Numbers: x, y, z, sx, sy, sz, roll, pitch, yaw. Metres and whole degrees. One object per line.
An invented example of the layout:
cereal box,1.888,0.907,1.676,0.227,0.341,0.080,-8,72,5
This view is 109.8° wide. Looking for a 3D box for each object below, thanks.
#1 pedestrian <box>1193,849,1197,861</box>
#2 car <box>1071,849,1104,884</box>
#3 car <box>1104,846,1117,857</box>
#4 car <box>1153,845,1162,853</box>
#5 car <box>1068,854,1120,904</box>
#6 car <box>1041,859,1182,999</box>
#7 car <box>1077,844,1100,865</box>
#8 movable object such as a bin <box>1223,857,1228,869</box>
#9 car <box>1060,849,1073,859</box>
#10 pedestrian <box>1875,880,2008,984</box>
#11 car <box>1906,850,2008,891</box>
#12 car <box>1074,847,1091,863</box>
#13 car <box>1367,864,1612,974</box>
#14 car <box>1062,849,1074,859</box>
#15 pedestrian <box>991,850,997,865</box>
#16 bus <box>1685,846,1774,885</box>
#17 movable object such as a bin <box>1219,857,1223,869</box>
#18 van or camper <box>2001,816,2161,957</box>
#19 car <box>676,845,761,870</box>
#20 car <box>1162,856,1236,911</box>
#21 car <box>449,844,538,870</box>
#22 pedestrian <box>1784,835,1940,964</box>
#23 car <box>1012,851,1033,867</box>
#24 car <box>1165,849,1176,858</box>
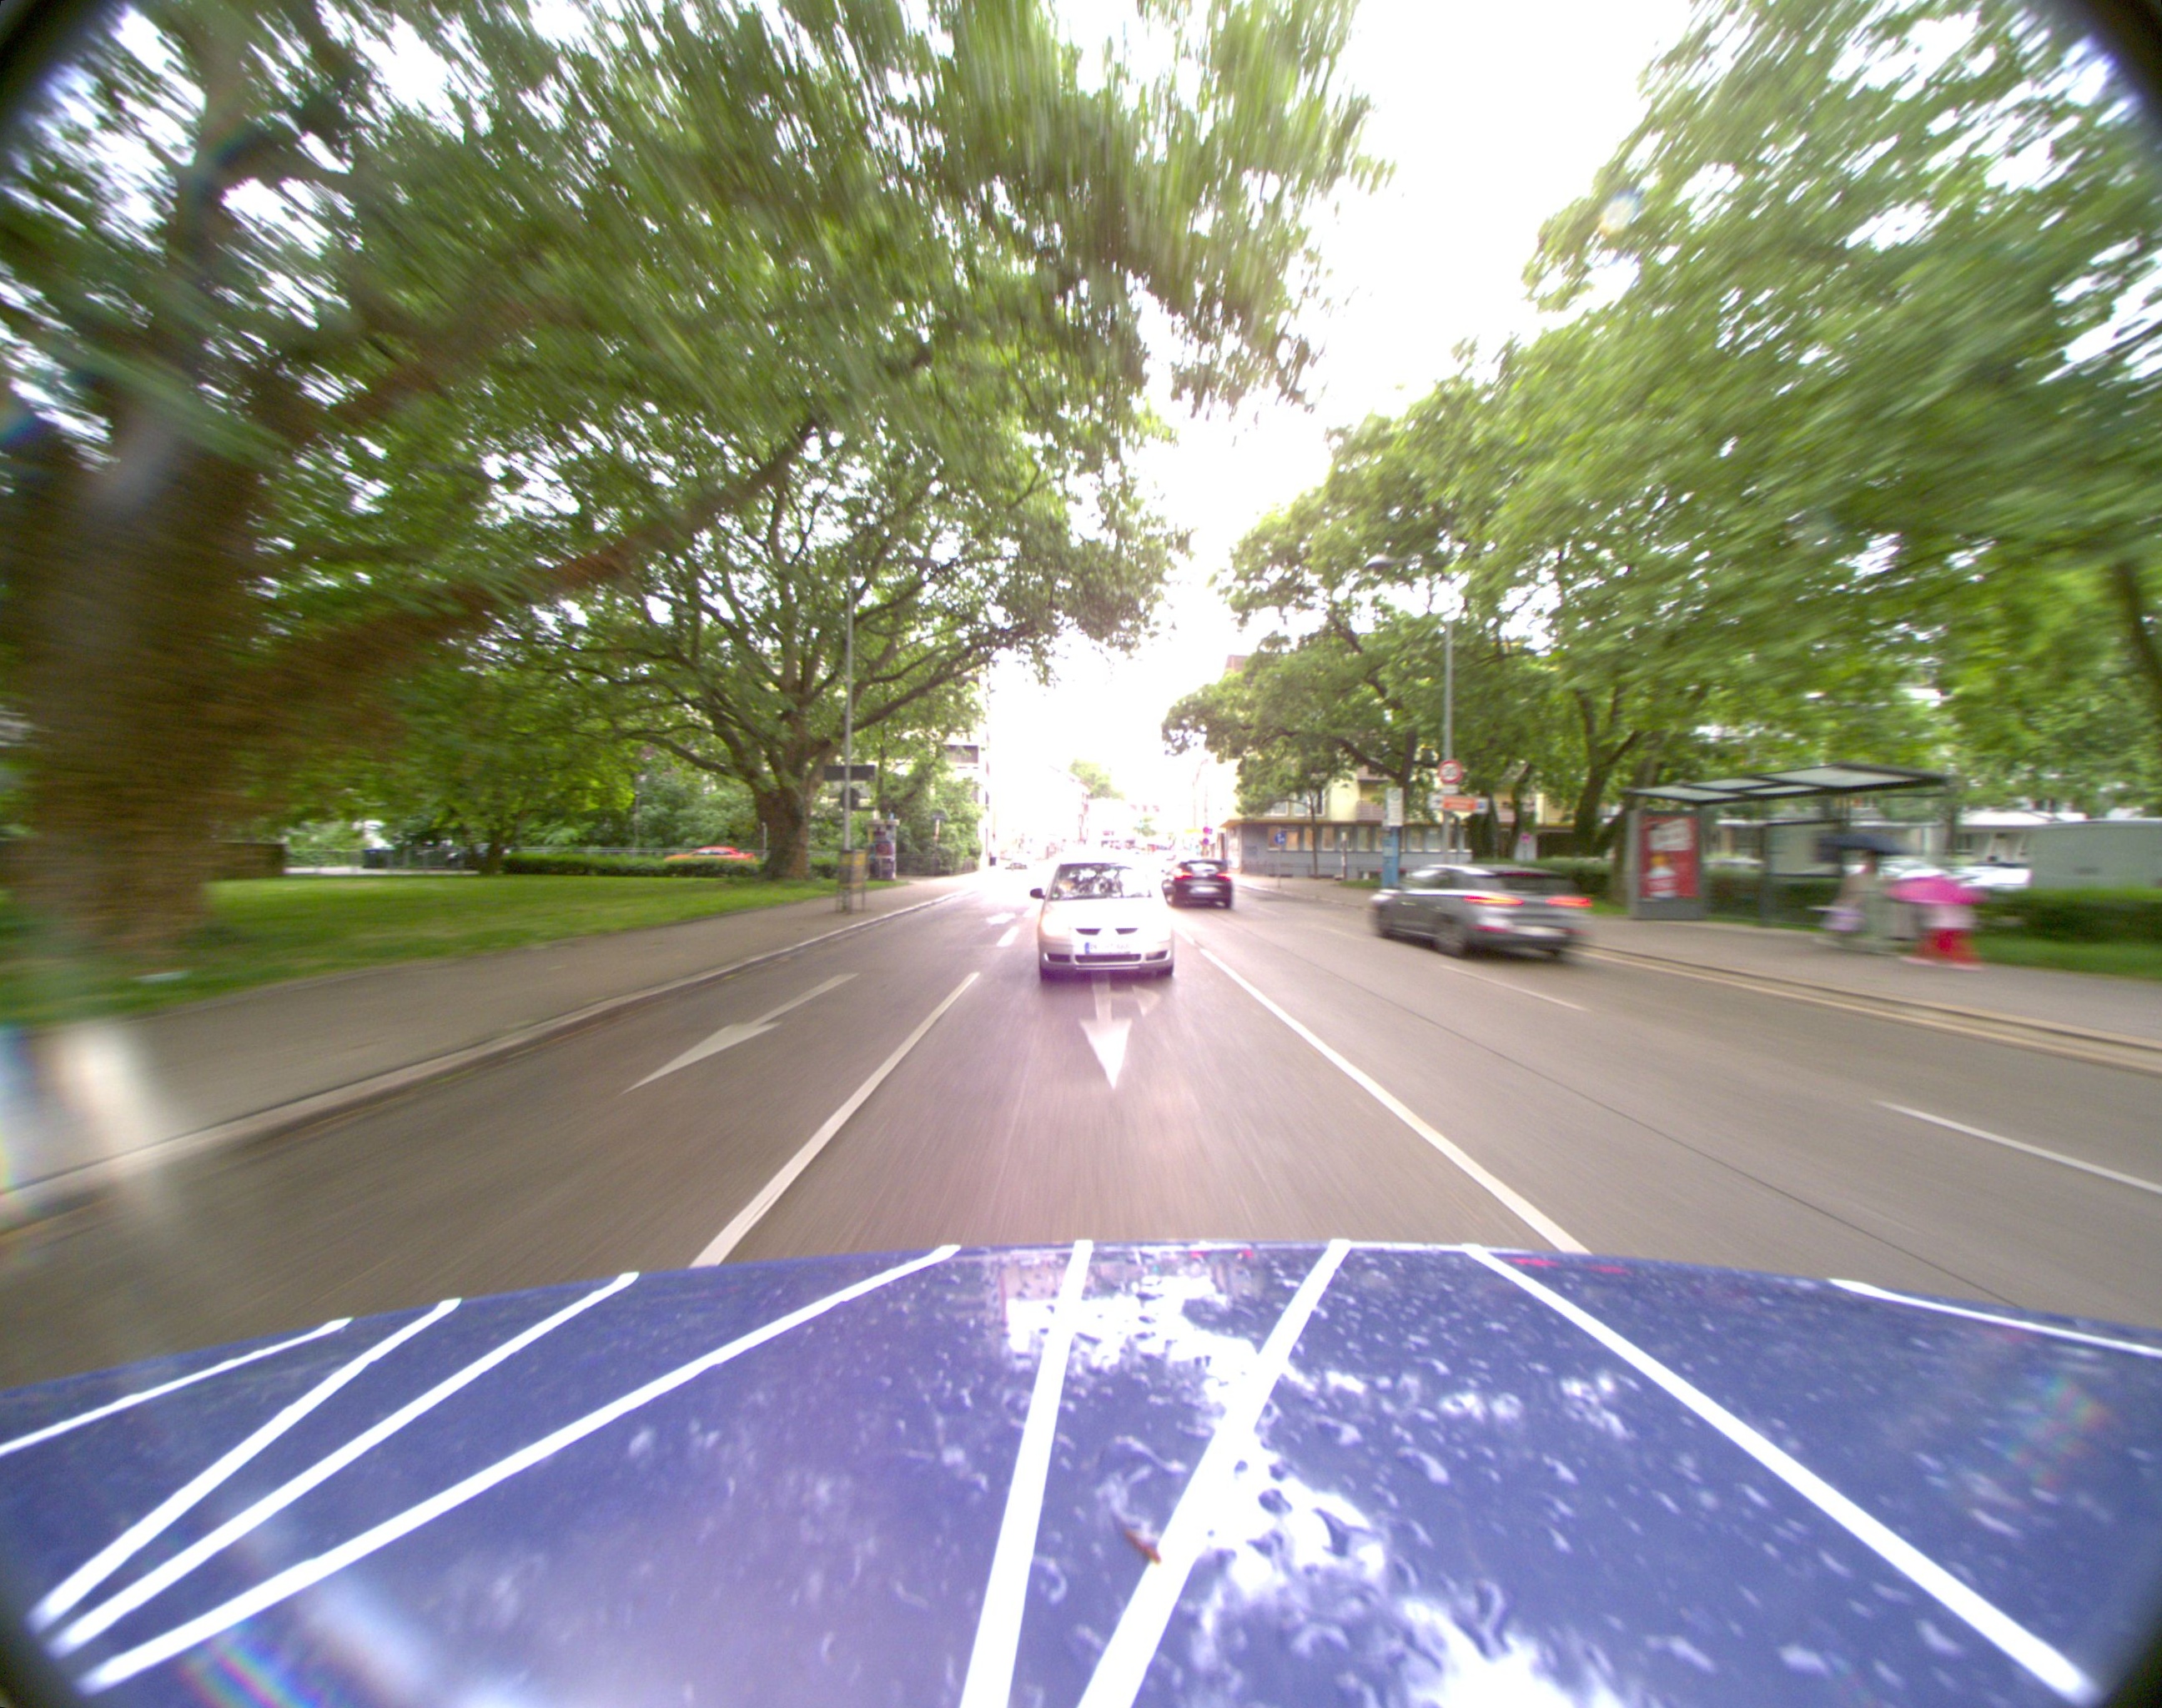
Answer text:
pedestrian,17.609,0.092,117.156,0.594,1.833,0.565,1,1,7
car,0.293,0.607,39.097,1.584,1.705,3.648,1,1,-1
car,4.189,-0.365,108.350,1.701,1.434,3.896,1,0,0
car,18.397,-1.191,181.900,1.998,1.631,4.001,1,0,4
car,0.463,0.781,25.828,1.590,1.540,3.771,1,0,2
car,0.355,0.858,10.227,1.576,1.514,3.240,-1,1,0
car,0.689,-0.008,69.157,1.935,1.817,3.999,-2,1,-1
movable object such as a bin,12.894,0.778,67.902,0.415,1.023,0.353,1,1,7
car,-2.146,0.017,114.490,1.802,1.434,3.896,1,0,0
pedestrian,10.473,0.925,9.276,0.686,1.168,0.826,-2,1,0
car,45.811,0.854,39.758,4.003,2.002,1.997,1,1,-17
car,0.193,0.141,90.711,1.935,1.817,3.999,1,0,-1
car,6.483,0.945,12.655,1.813,1.409,4.030,2,0,-1
car,-2.119,-0.059,128.916,1.870,1.571,3.821,1,0,1
pedestrian,-8.506,0.341,73.907,0.480,1.521,0.481,-2,2,0
bus,33.617,0.588,39.376,3.731,1.913,1.711,1,1,-17
movable object such as a bin,12.515,0.780,67.923,0.338,1.023,0.353,1,1,7
van or camper,18.748,0.519,12.627,4.494,2.157,2.047,1,1,-2
car,-19.405,0.184,40.770,3.792,1.271,1.575,1,1,-8
car,3.364,0.795,22.225,1.628,1.407,3.454,1,1,1
car,-30.941,0.128,40.081,3.468,1.271,1.448,1,1,-5
pedestrian,11.233,0.620,10.983,0.994,1.732,1.209,-2,1,0
car,-5.603,0.442,73.021,1.681,1.424,3.681,4,0,0
car,16.534,-0.125,140.765,1.889,1.707,4.001,1,0,4
